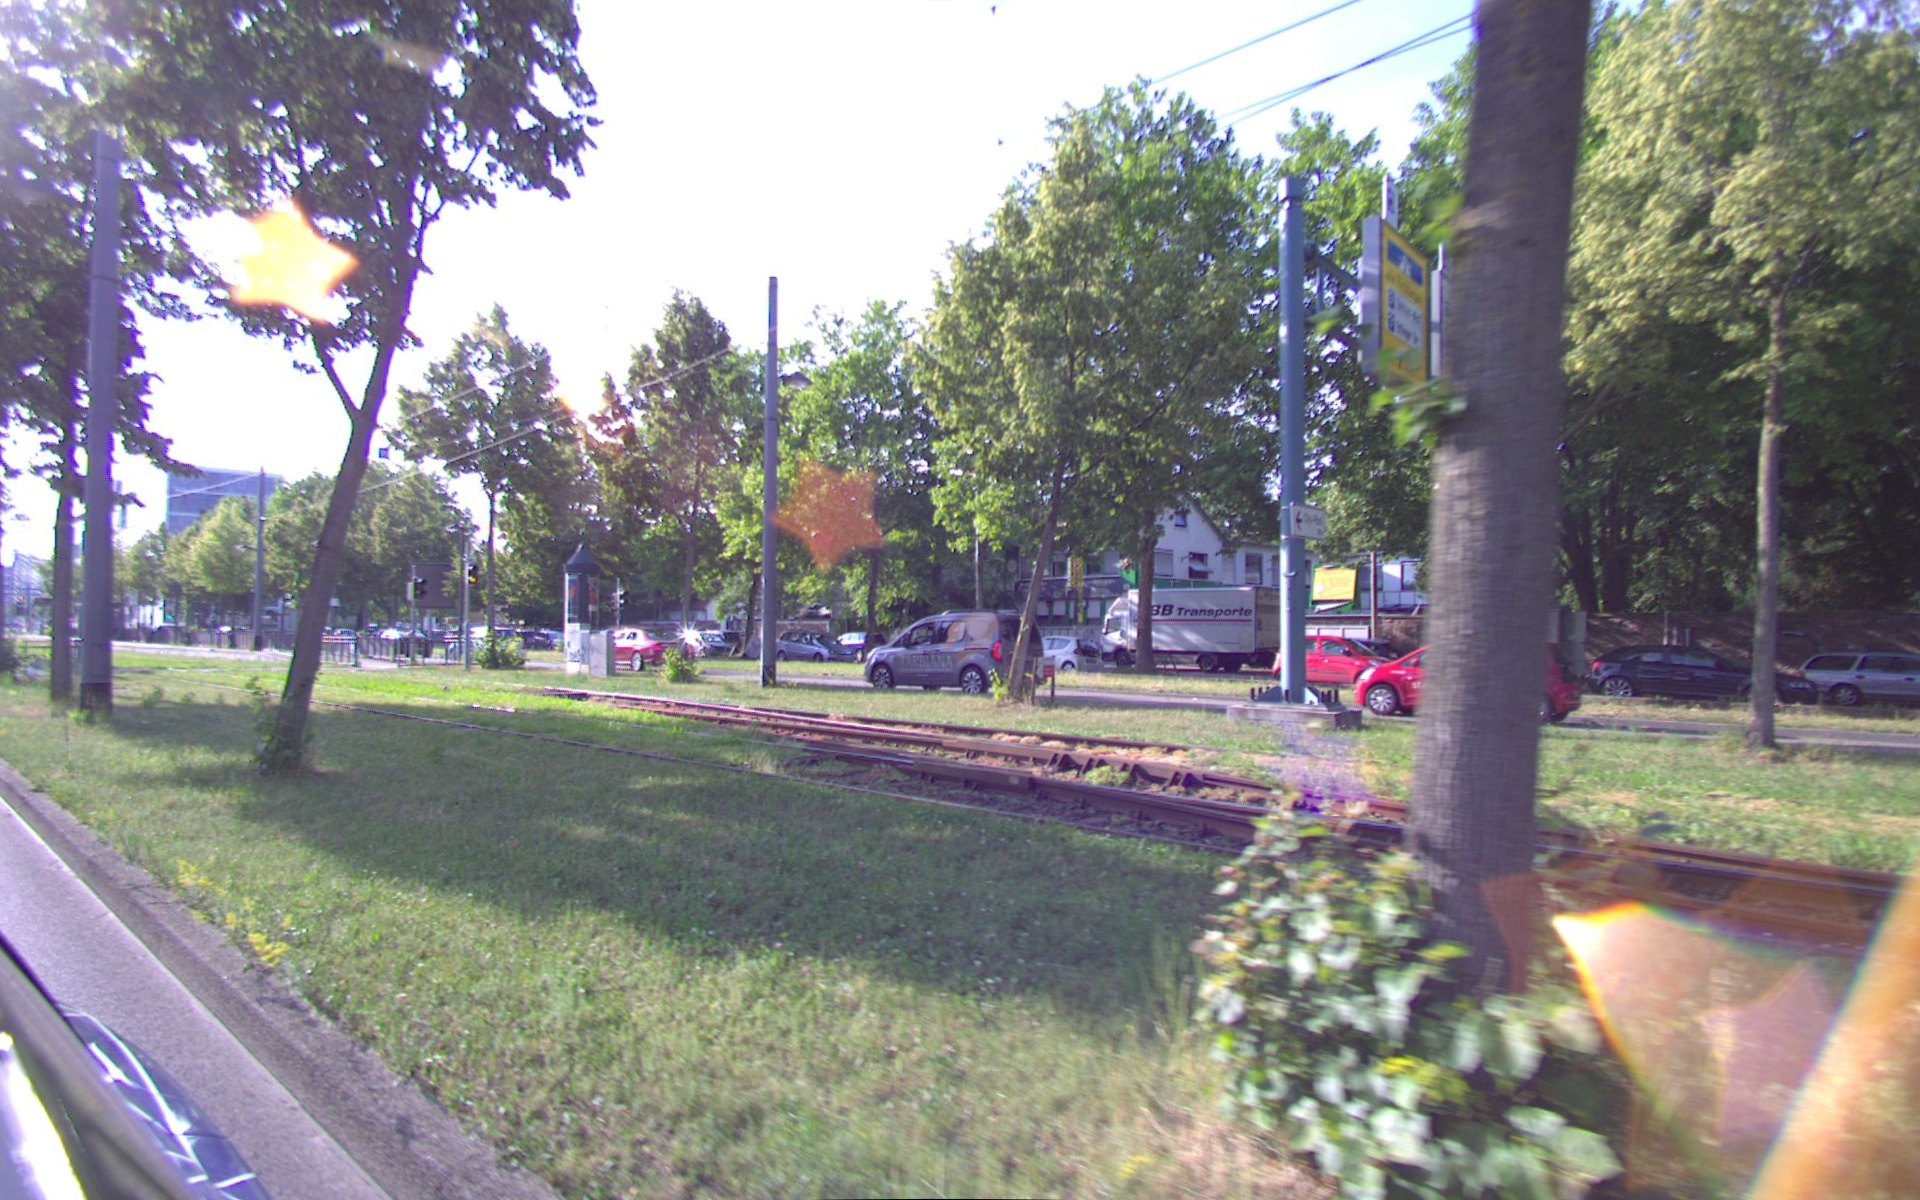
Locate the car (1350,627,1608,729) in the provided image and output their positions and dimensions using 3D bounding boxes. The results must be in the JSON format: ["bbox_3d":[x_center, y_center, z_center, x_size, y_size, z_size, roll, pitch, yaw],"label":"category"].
[{"bbox_3d":[9.077,1.283,17.843,3.759,1.536,1.664,-1,0,41],"label":"car"}]

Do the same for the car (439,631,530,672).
[{"bbox_3d":[-17.705,1.875,37.646,3.957,1.382,1.663,-1,0,42],"label":"car"}]

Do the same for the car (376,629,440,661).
[{"bbox_3d":[-27.978,2.268,51.268,3.959,1.459,1.764,-1,0,44],"label":"car"}]

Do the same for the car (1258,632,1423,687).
[{"bbox_3d":[10.388,1.589,27.820,1.563,1.286,3.964,-1,0,-42],"label":"car"}]

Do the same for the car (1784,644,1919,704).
[{"bbox_3d":[24.121,1.893,26.036,1.678,1.386,4.388,-1,0,-45],"label":"car"}]

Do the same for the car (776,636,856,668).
[{"bbox_3d":[-6.496,2.317,45.484,3.782,1.292,1.437,-1,0,41],"label":"car"}]

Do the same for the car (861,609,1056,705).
[{"bbox_3d":[-0.111,1.154,22.151,4.216,1.878,1.664,-1,0,41],"label":"car"}]

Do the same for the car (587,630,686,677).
[{"bbox_3d":[-11.462,1.854,35.773,3.959,1.459,1.663,-1,0,44],"label":"car"}]

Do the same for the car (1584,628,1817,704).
[{"bbox_3d":[16.045,1.364,22.030,3.958,1.442,1.653,-1,0,41],"label":"car"}]

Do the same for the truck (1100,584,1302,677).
[{"bbox_3d":[9.955,1.196,42.577,2.855,3.542,7.950,-1,0,-44],"label":"truck"}]
